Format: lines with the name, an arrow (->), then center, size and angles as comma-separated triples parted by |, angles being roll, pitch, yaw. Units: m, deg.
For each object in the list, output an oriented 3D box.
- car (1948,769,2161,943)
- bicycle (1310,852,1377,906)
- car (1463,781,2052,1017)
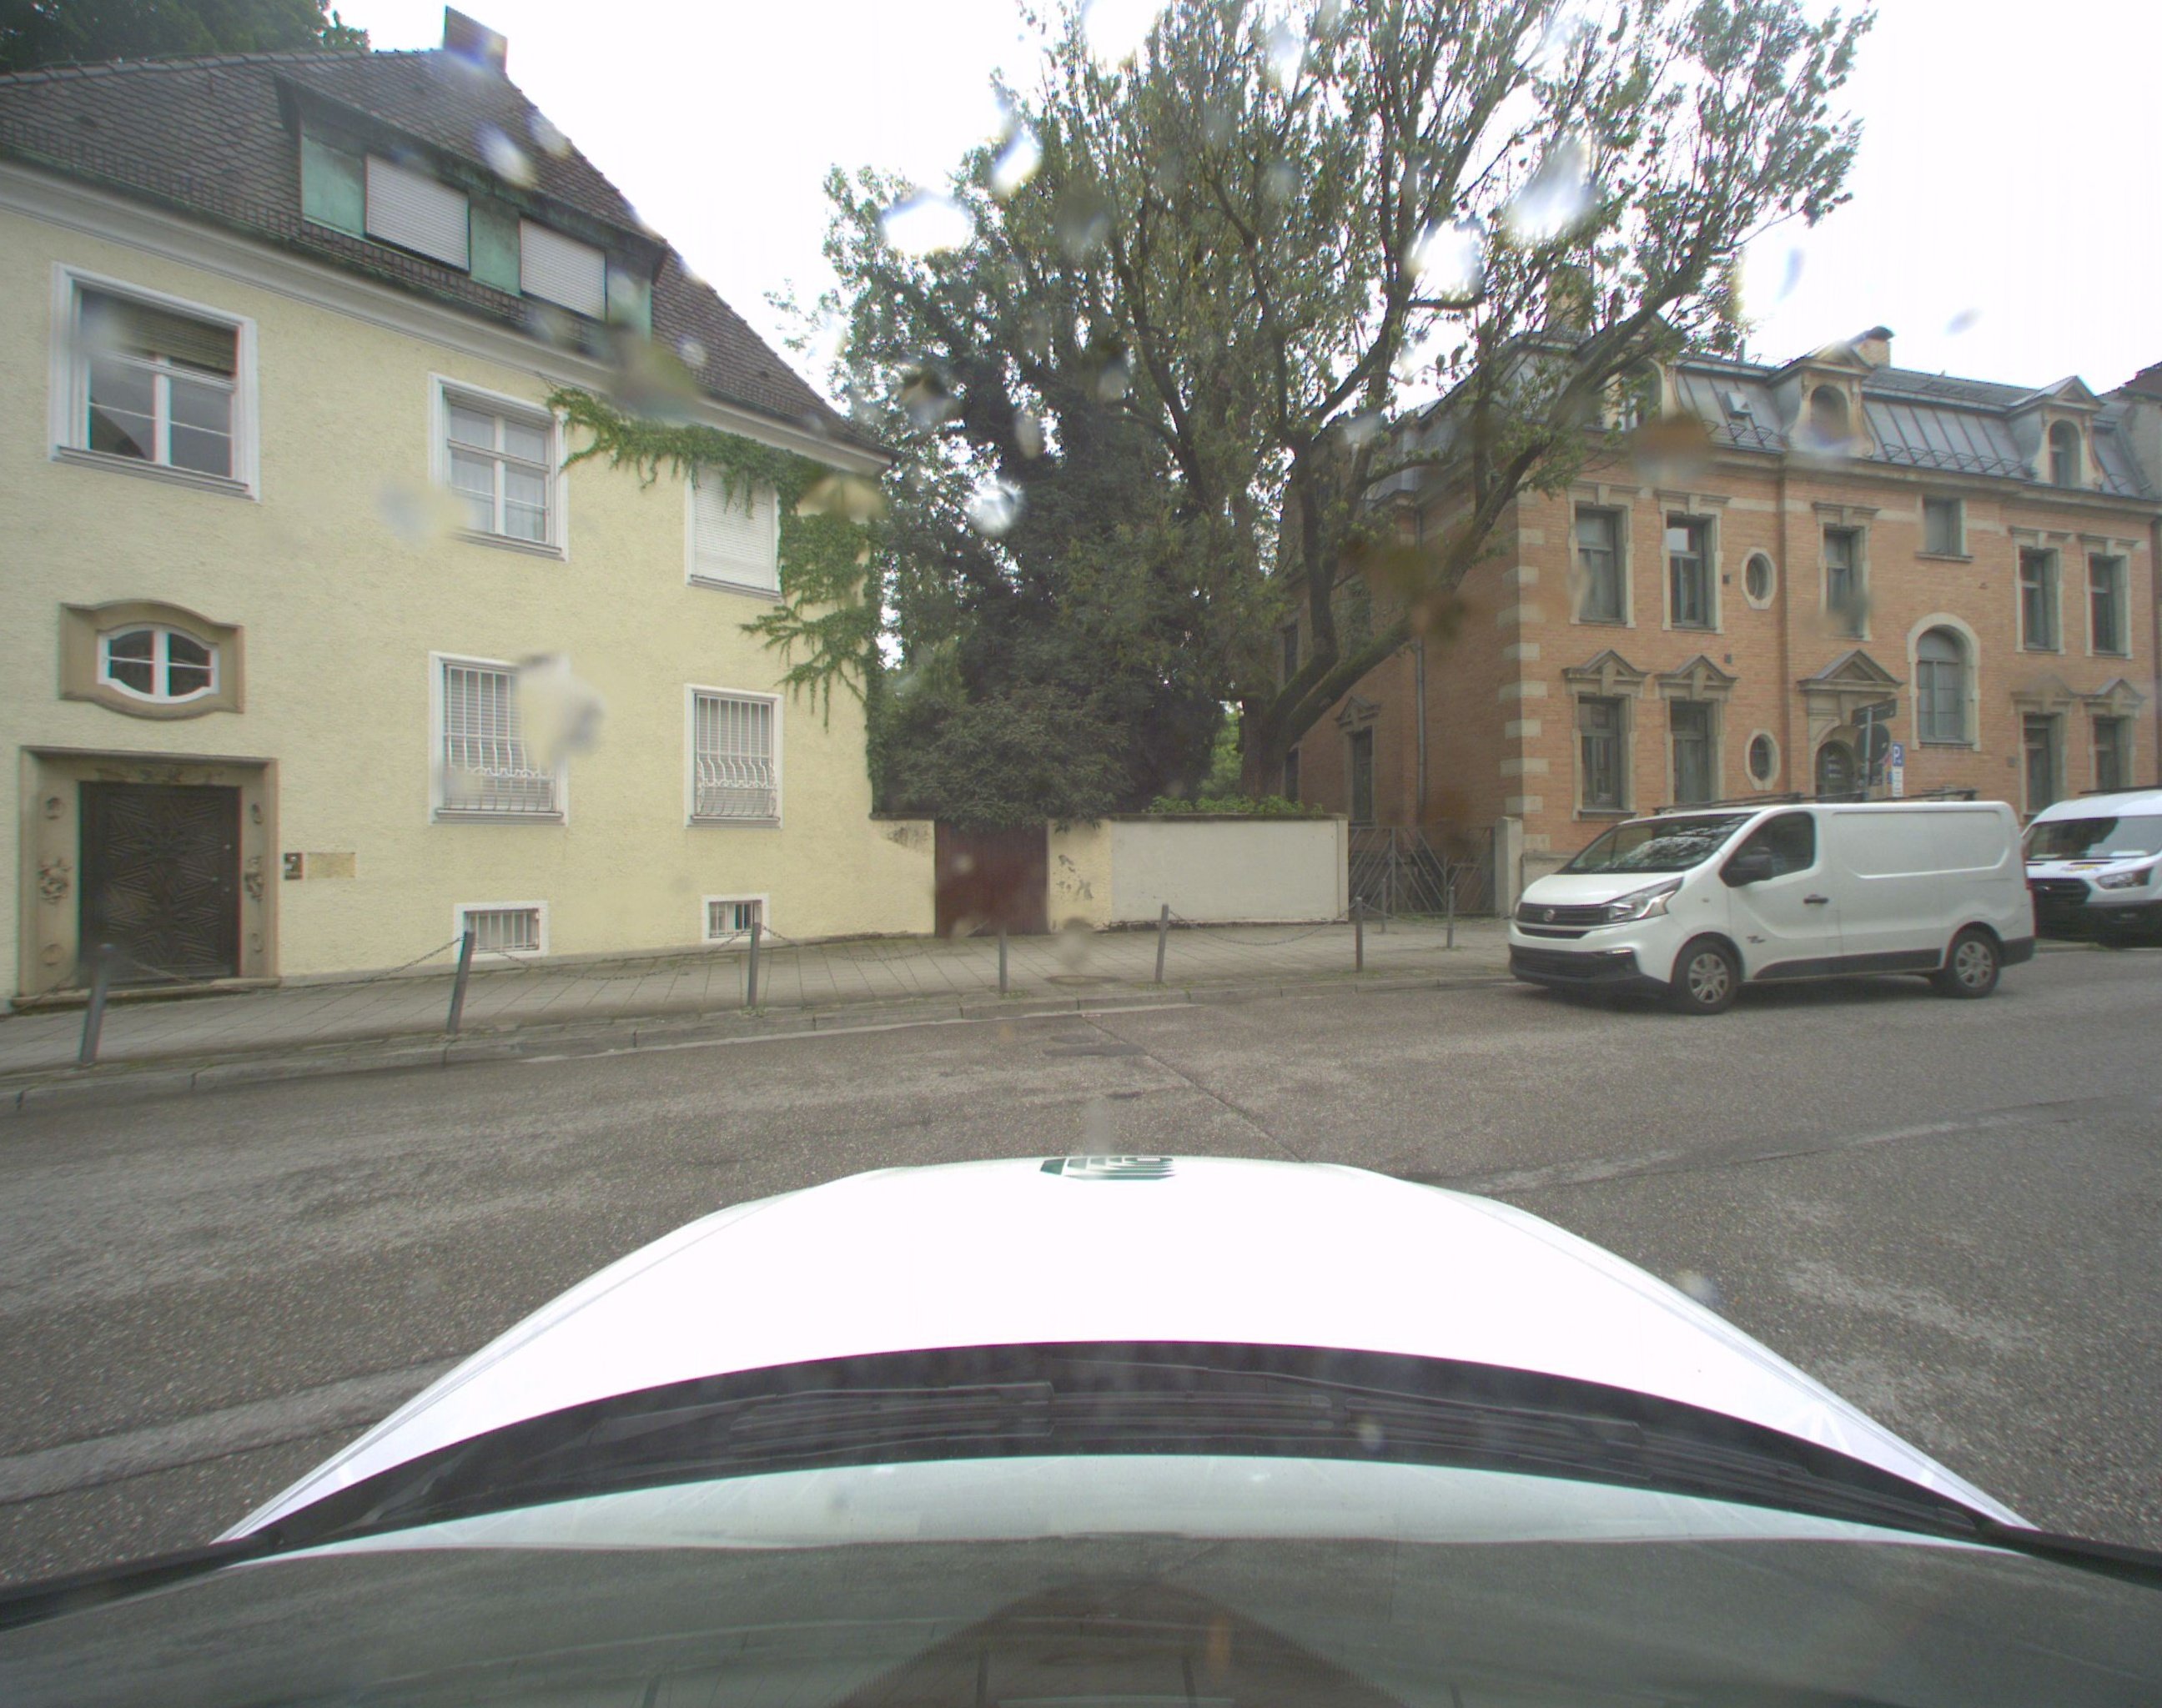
car -> 17.321, 0.056, 13.128 | 5.457, 2.468, 1.990 | 0, -2, -12
bicycle -> 6.179, 0.574, 19.308 | 0.534, 1.219, 2.074 | 0, -1, -12
car -> 6.886, 0.375, 8.527 | 4.943, 2.042, 2.038 | -1, -2, -11
